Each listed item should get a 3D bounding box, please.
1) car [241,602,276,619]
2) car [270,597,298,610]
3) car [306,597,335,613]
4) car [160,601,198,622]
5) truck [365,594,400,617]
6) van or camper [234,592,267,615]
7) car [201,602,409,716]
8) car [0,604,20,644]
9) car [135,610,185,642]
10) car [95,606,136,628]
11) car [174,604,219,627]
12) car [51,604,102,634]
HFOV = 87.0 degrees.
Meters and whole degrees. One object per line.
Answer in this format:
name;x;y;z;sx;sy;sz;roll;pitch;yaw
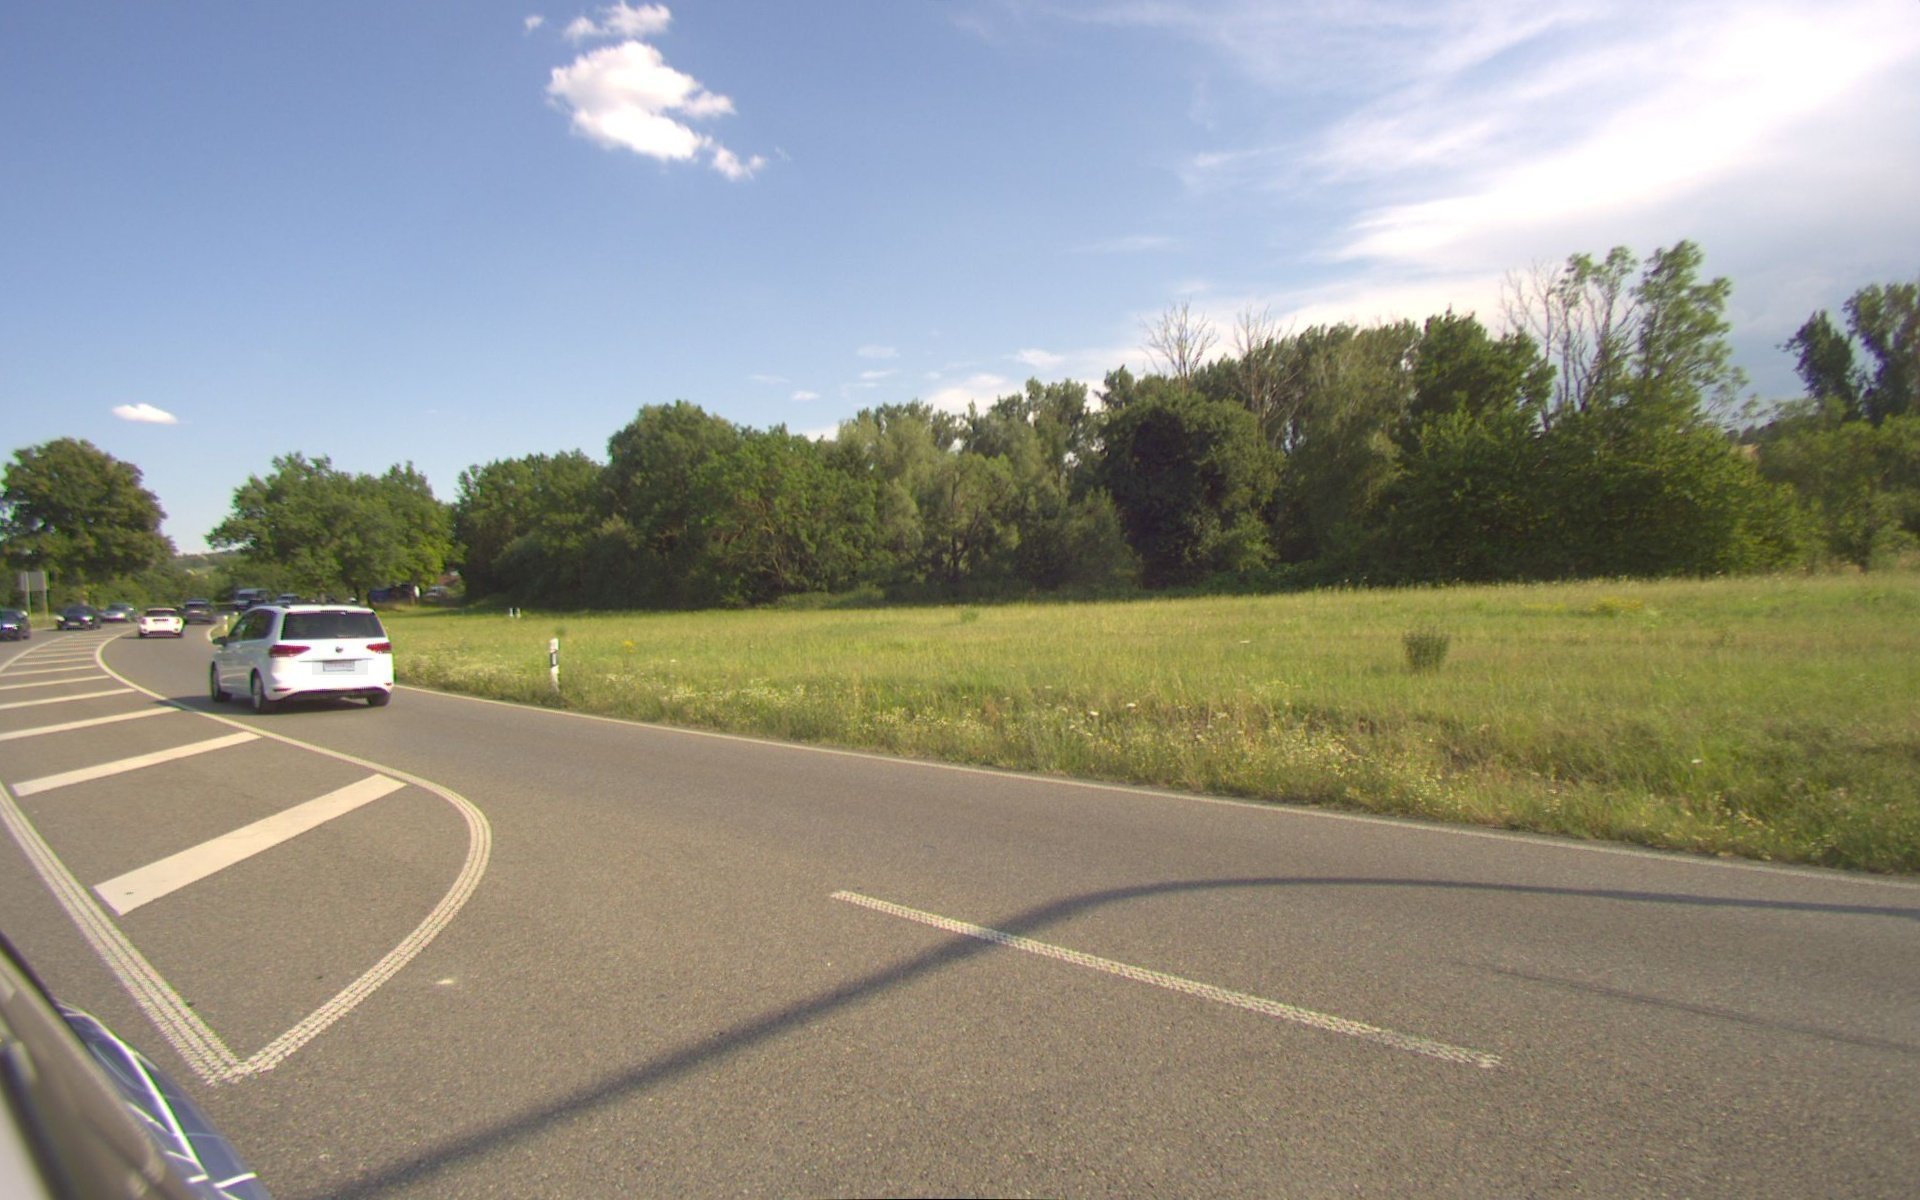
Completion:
car;-72.272;1.055;104.355;1.966;1.563;4.013;-3;2;-21
car;-84.882;0.421;127.113;1.966;1.563;4.013;-3;2;-19
car;-81.090;0.601;128.414;1.966;1.871;4.012;-3;2;-15
car;-79.985;1.158;103.689;1.614;1.913;3.515;-3;2;-13
truck;-87.537;0.739;153.576;2.877;3.237;6.700;-3;1;-14
van or camper;-81.595;0.406;116.424;2.000;2.494;5.094;-3;2;-23
car;-10.633;0.885;16.299;4.331;1.598;1.859;-2;-2;44
car;-43.698;1.072;45.653;1.668;1.741;3.675;1;-1;-40
car;-38.792;1.233;49.139;1.723;1.478;3.487;0;-1;-36
car;-63.780;1.264;76.482;1.607;1.570;3.428;1;0;-27
car;-55.494;1.133;73.625;1.900;1.598;4.087;0;-1;-26
car;-53.266;1.138;61.069;1.646;1.741;3.680;0;0;-30
